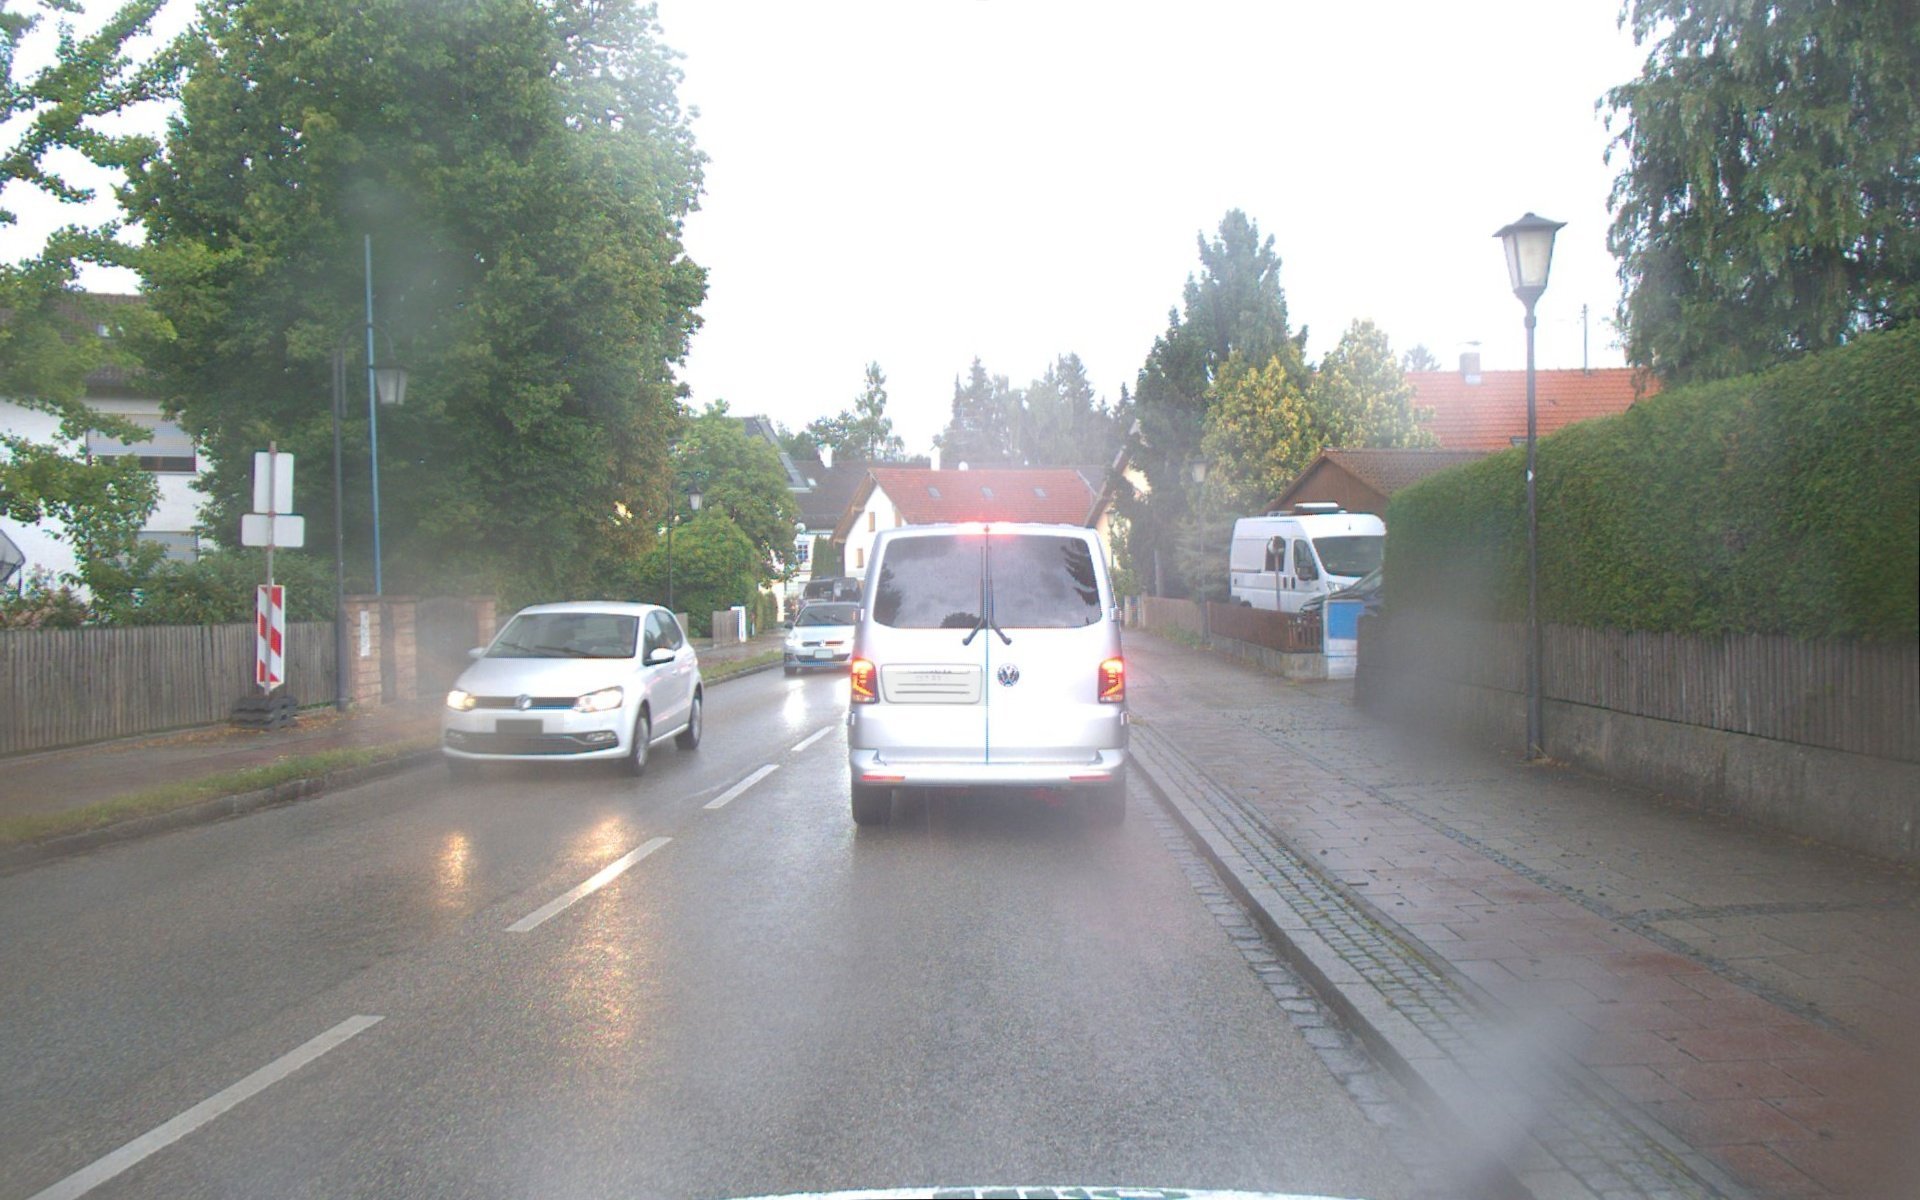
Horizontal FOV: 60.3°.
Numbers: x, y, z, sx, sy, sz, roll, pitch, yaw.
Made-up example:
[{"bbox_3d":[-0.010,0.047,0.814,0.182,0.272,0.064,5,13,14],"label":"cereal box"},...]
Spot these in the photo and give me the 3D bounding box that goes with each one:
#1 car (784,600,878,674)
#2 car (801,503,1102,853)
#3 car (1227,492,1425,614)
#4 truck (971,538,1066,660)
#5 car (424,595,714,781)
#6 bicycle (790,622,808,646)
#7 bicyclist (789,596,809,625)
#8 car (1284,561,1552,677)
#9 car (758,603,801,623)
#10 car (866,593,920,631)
[{"bbox_3d":[-2.680,0.767,35.133,1.681,1.467,3.999,1,-1,0],"label":"car"},{"bbox_3d":[0.065,0.483,11.841,1.763,2.049,4.001,1,-1,3],"label":"car"},{"bbox_3d":[7.154,-0.839,32.920,1.959,2.212,4.937,1,-1,-12],"label":"car"},{"bbox_3d":[1.555,0.012,46.143,2.424,3.128,6.296,1,-1,1],"label":"truck"},{"bbox_3d":[-3.374,0.719,14.934,1.584,1.470,3.671,0,-1,3],"label":"car"},{"bbox_3d":[-5.731,1.189,58.903,0.447,0.812,1.977,0,0,1],"label":"bicycle"},{"bbox_3d":[-5.738,0.376,58.999,0.575,1.039,1.060,0,0,0],"label":"bicyclist"},{"bbox_3d":[7.646,0.283,27.802,4.011,1.782,1.694,-1,2,-3],"label":"car"},{"bbox_3d":[-12.247,0.863,112.140,1.758,1.333,3.743,1,-1,-26],"label":"car"},{"bbox_3d":[-3.741,0.664,91.983,1.963,2.049,3.978,1,-1,-19],"label":"car"}]
